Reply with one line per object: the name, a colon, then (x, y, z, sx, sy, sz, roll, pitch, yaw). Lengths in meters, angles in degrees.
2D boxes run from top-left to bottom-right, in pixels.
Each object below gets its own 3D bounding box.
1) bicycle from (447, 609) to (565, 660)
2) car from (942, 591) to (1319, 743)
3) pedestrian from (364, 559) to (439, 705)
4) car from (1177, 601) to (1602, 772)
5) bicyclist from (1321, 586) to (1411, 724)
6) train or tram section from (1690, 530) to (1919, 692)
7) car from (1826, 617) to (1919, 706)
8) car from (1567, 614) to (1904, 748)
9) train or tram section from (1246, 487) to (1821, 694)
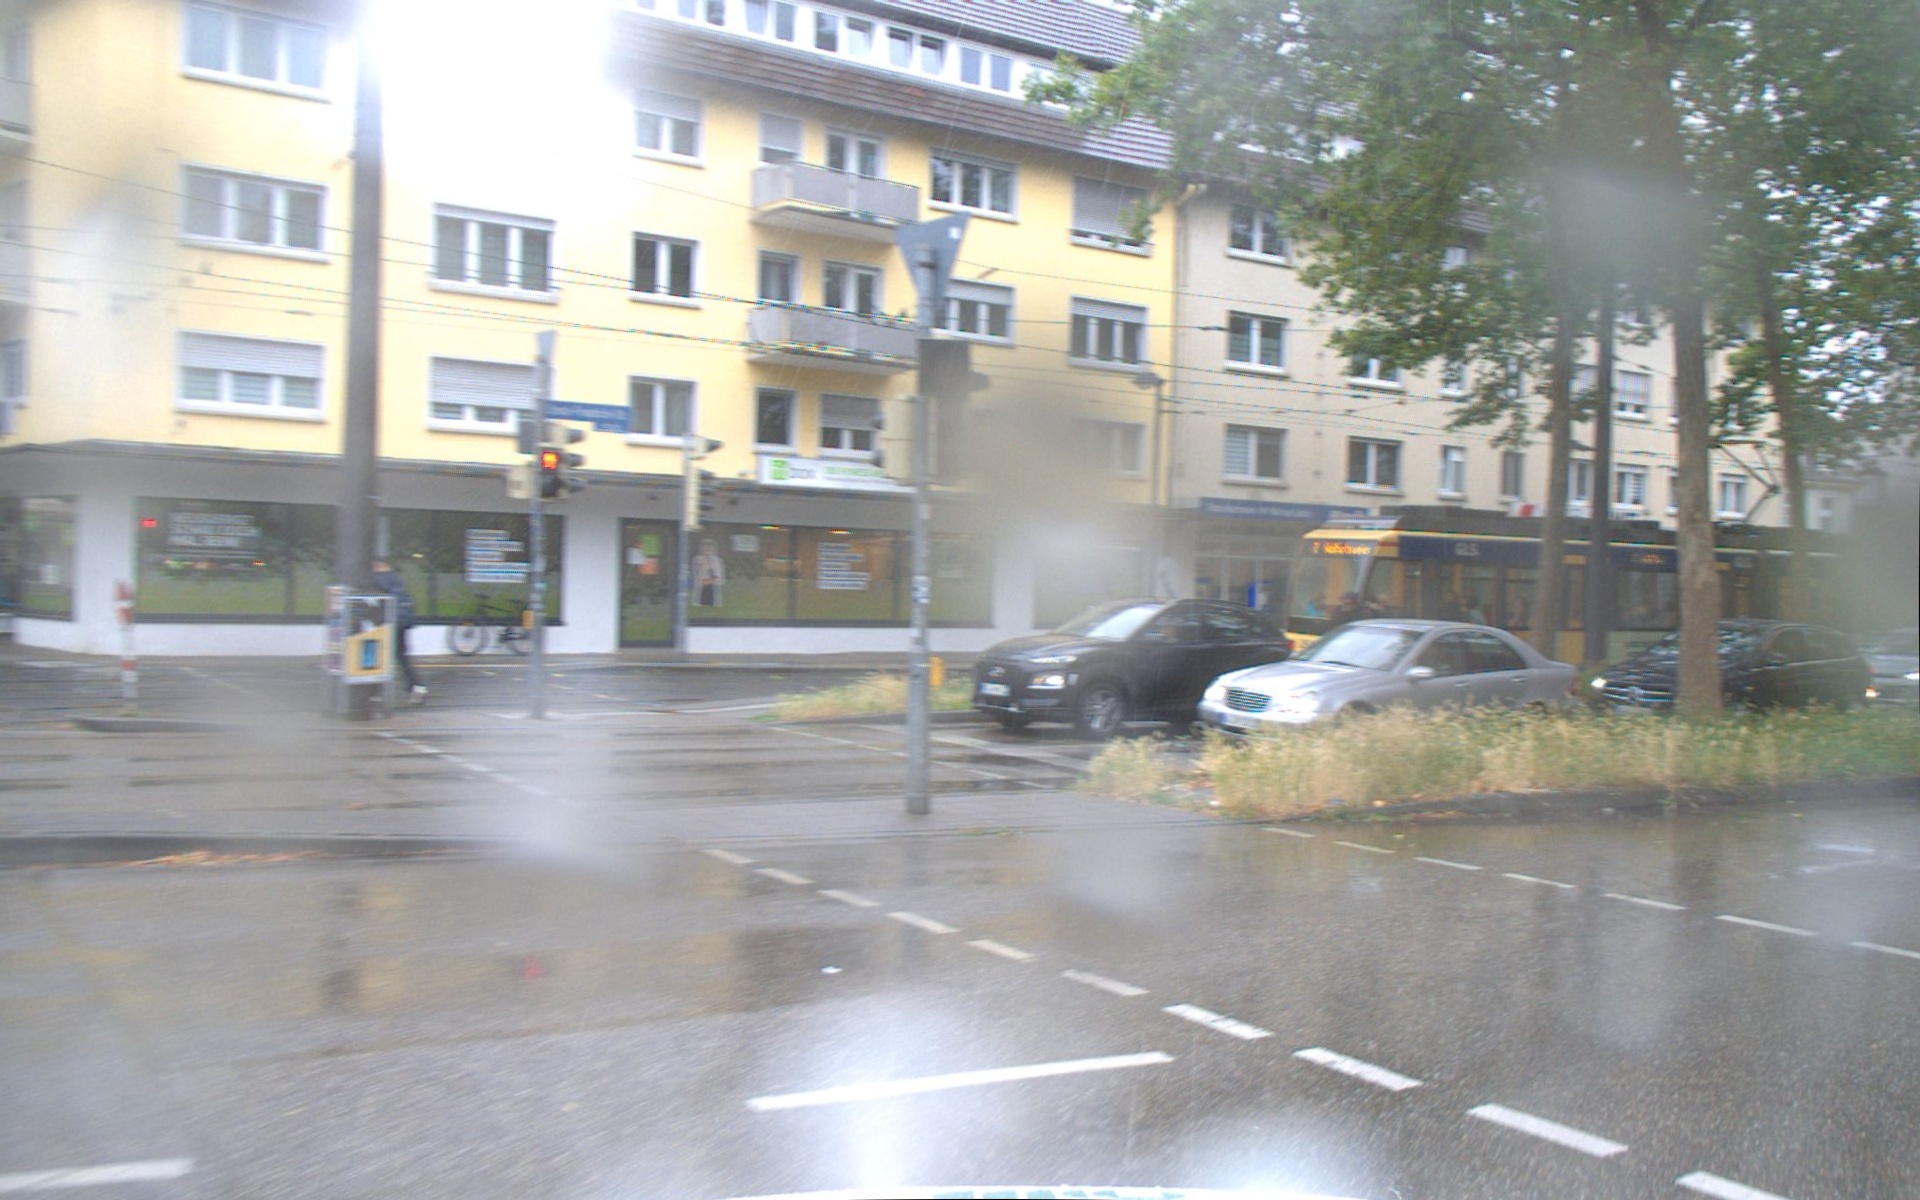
bicycle: (-8.453, 0.652, 30.818, 2.020, 0.912, 0.607, 1, 0, -33)
car: (2.029, 0.704, 19.085, 4.240, 1.528, 1.854, 1, 1, -38)
pedestrian: (-6.748, 0.379, 19.970, 0.800, 1.707, 1.011, 1, 0, -20)
car: (4.493, 0.815, 17.053, 4.445, 1.515, 1.720, 1, 1, -34)
bicyclist: (5.317, 0.717, 21.660, 0.880, 1.746, 0.705, 3, -1, -36)
train or tram section: (24.260, 0.422, 42.286, 14.500, 3.620, 3.079, 2, 0, -35)
car: (17.344, 1.055, 29.354, 4.078, 1.422, 1.727, 1, 1, -33)
car: (10.105, 0.985, 21.444, 4.582, 1.511, 1.841, 1, 1, -33)
train or tram section: (12.334, 0.010, 34.234, 14.395, 3.620, 3.081, 2, 0, -33)
